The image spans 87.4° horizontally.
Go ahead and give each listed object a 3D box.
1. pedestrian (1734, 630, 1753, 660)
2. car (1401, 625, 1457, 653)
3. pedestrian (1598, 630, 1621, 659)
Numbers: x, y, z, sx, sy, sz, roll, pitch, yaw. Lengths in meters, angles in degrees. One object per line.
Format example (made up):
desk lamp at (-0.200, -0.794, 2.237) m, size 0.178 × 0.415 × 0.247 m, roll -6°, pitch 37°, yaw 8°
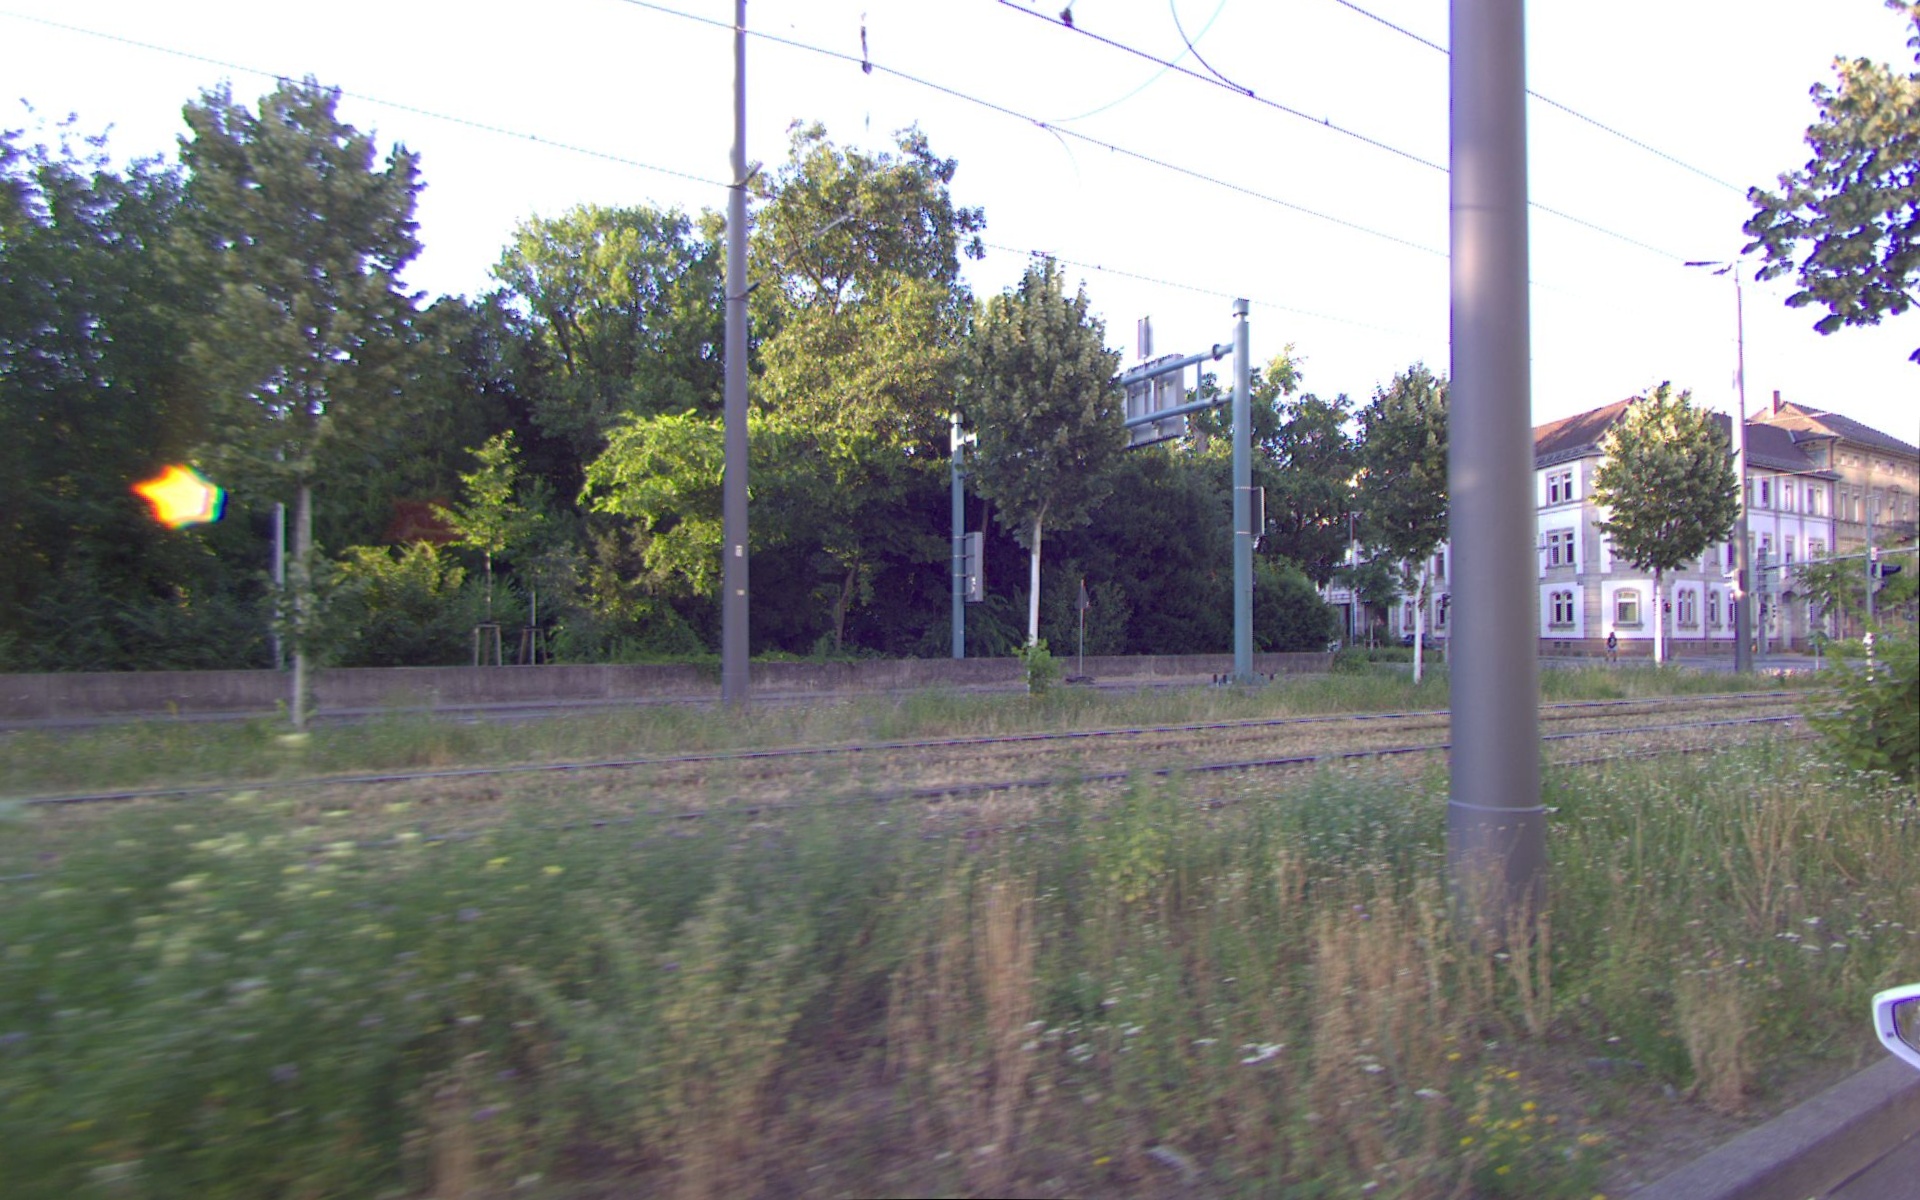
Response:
pedestrian at (46.596, 2.692, 59.707) m, size 0.805 × 1.739 × 0.696 m, roll 0°, pitch 1°, yaw -38°
car at (29.915, 2.459, 64.170) m, size 1.755 × 1.576 × 4.000 m, roll 1°, pitch 0°, yaw 0°
pedestrian at (33.845, 2.318, 52.350) m, size 0.924 × 1.478 × 0.601 m, roll 1°, pitch 0°, yaw -29°
